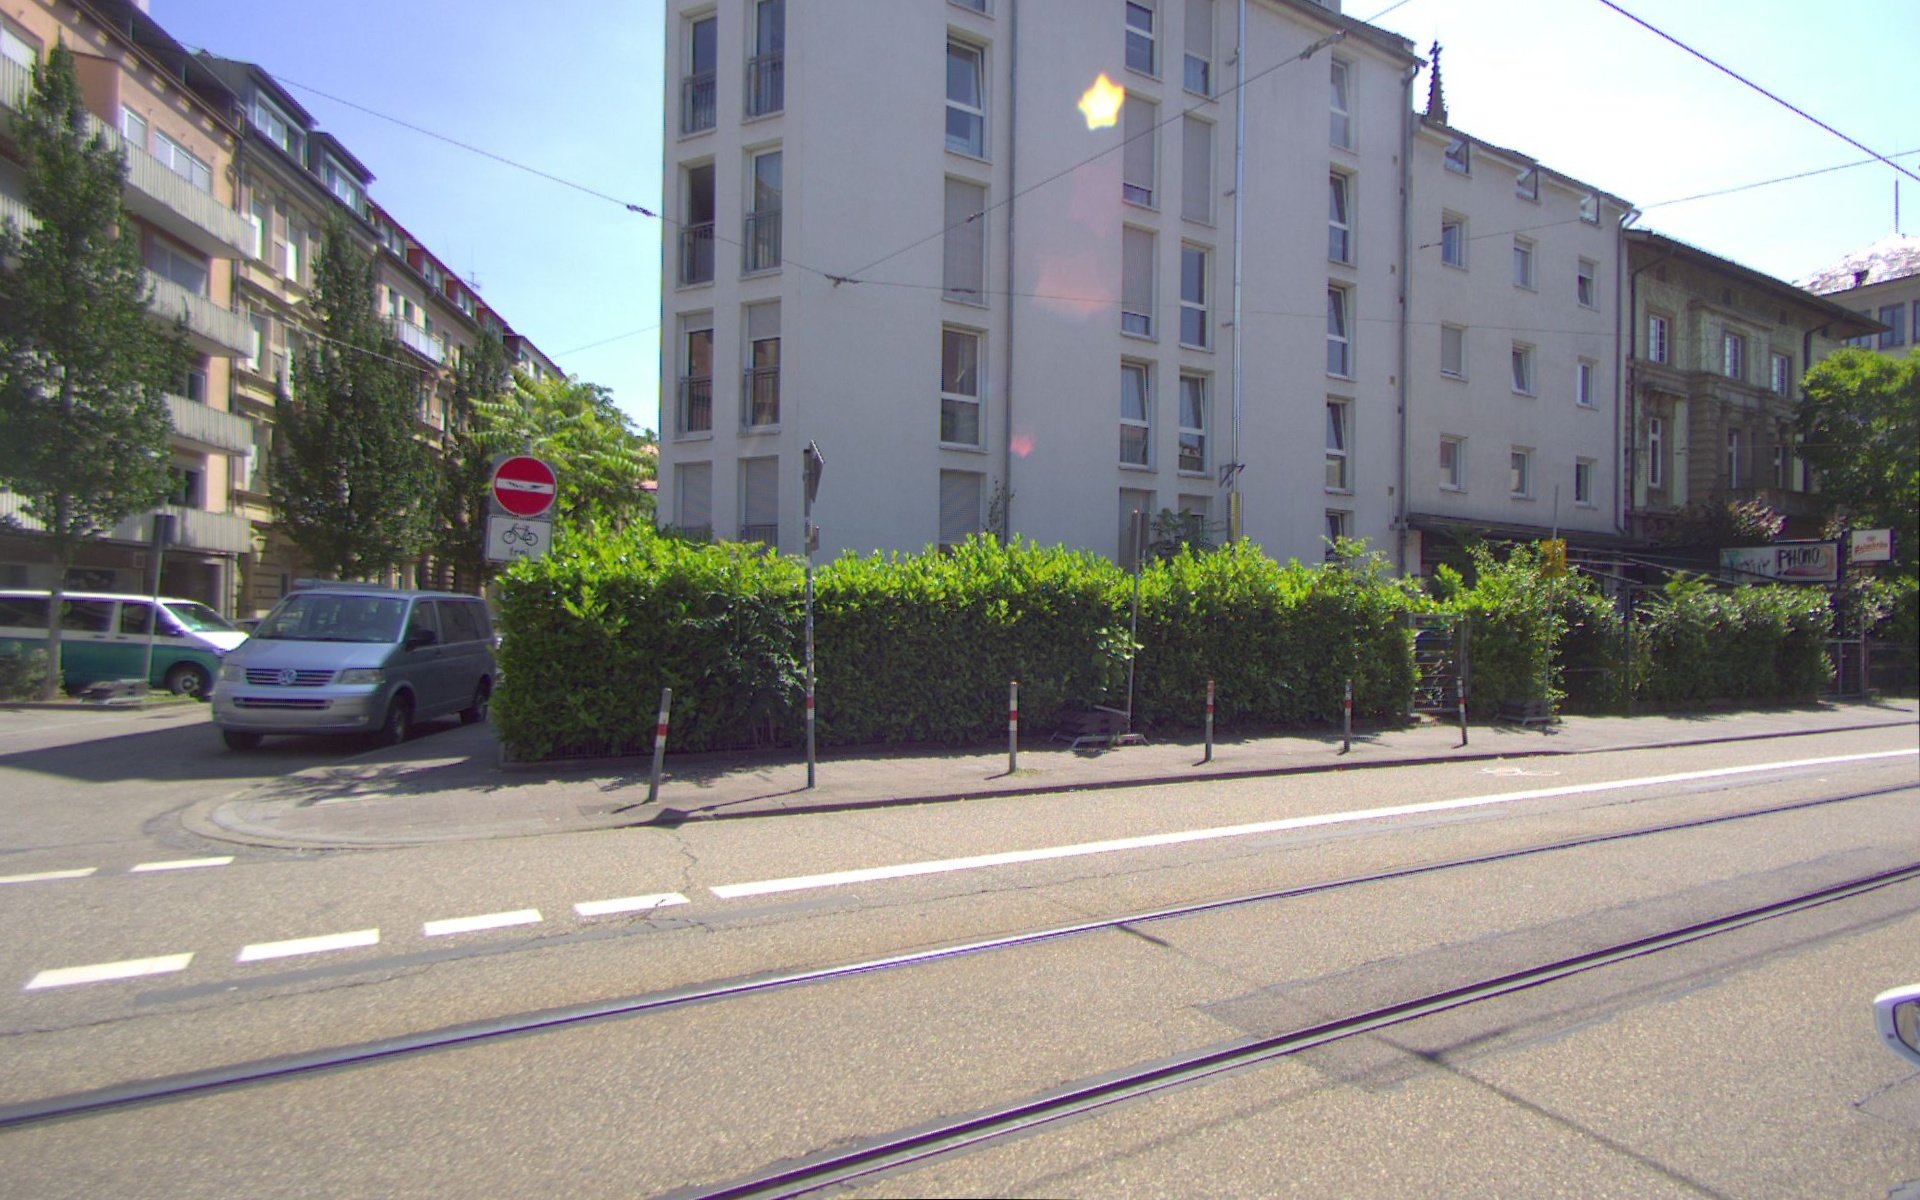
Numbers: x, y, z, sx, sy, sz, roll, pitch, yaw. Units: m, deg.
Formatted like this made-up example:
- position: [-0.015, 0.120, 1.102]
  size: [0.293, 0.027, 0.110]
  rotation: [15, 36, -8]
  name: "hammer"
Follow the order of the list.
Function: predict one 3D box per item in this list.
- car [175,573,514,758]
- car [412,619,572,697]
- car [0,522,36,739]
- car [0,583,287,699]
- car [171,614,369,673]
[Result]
- position: [-7.796, 0.774, 13.414]
  size: [2.117, 2.011, 4.699]
  rotation: [1, -1, -8]
  name: "car"
- position: [-10.012, 1.197, 21.866]
  size: [1.963, 1.513, 4.045]
  rotation: [1, -1, -7]
  name: "car"
- position: [-14.552, 0.310, 11.128]
  size: [6.078, 2.624, 2.122]
  rotation: [1, -1, -10]
  name: "car"
- position: [-16.428, 0.799, 19.705]
  size: [4.858, 2.116, 2.122]
  rotation: [1, -1, -10]
  name: "car"
- position: [-18.011, 1.117, 26.352]
  size: [3.924, 1.391, 1.649]
  rotation: [2, -1, -5]
  name: "car"
